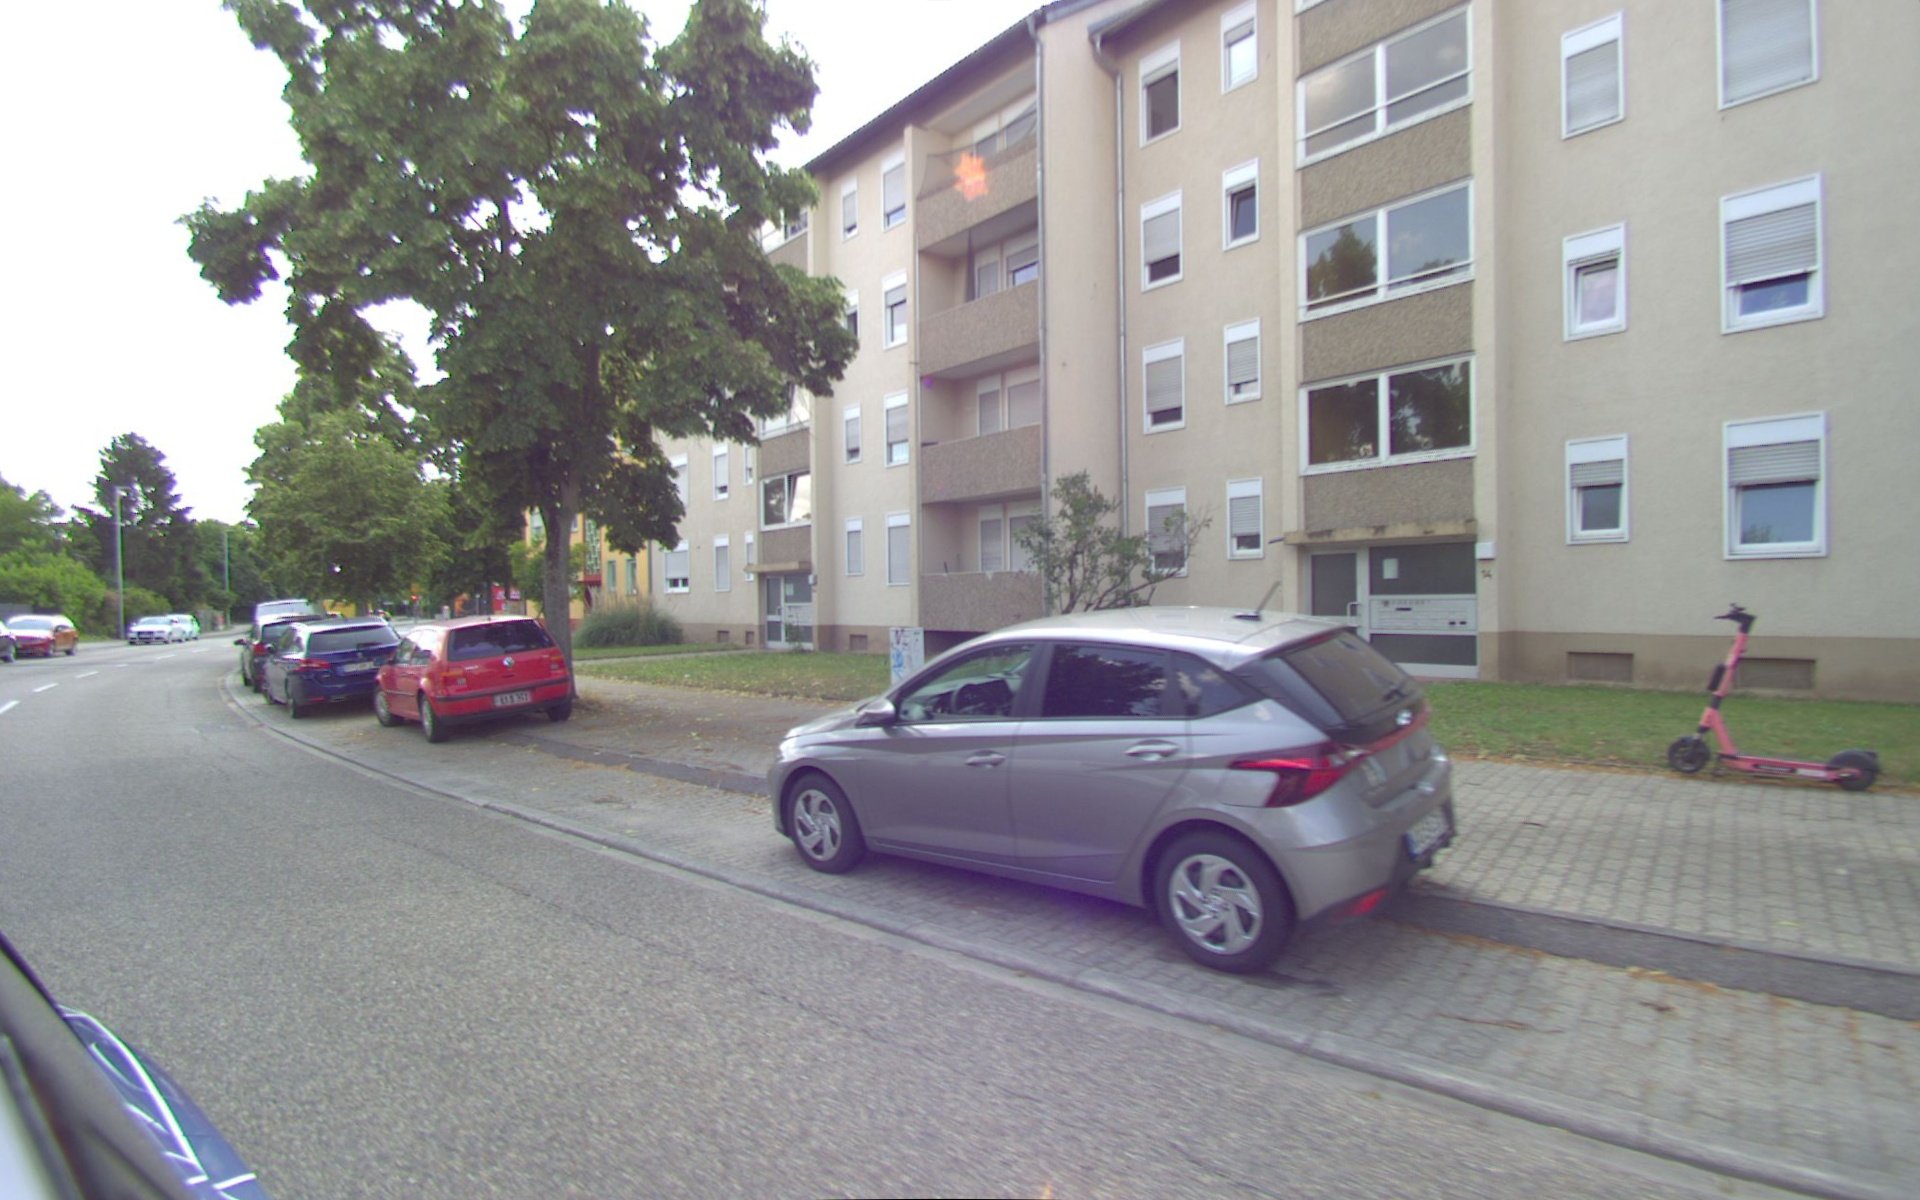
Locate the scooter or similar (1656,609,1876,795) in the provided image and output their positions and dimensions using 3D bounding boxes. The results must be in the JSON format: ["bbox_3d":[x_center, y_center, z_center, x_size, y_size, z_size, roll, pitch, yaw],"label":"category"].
[{"bbox_3d":[5.549,0.666,7.011,1.140,1.174,0.415,-2,0,41],"label":"scooter or similar"}]

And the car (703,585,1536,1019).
[{"bbox_3d":[0.582,0.754,5.691,4.341,1.500,1.742,-2,1,41],"label":"car"}]

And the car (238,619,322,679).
[{"bbox_3d":[-19.241,1.325,28.798,1.736,1.500,4.518,-1,0,-31],"label":"car"}]

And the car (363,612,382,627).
[{"bbox_3d":[-60.160,1.996,103.628,1.532,1.528,3.620,-1,0,-28],"label":"car"}]

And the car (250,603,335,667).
[{"bbox_3d":[-23.104,1.161,35.198,1.853,2.025,5.339,0,-1,-27],"label":"car"}]

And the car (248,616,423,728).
[{"bbox_3d":[-10.652,1.094,17.104,1.739,1.500,4.577,-3,2,-41],"label":"car"}]

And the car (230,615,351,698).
[{"bbox_3d":[-14.375,1.130,21.639,1.738,1.500,4.040,-3,1,-39],"label":"car"}]

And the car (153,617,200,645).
[{"bbox_3d":[-45.894,1.812,59.333,1.559,1.531,3.767,-1,0,-28],"label":"car"}]

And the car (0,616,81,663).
[{"bbox_3d":[-34.154,1.404,37.160,1.824,1.591,4.747,-1,0,-28],"label":"car"}]

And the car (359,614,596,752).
[{"bbox_3d":[-6.551,0.963,13.503,1.814,1.449,4.098,-4,2,-40],"label":"car"}]

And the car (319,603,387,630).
[{"bbox_3d":[-71.037,1.886,118.536,6.420,2.891,2.500,-2,1,-41],"label":"car"}]

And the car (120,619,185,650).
[{"bbox_3d":[-41.940,1.741,52.642,1.697,1.497,3.761,-1,0,-24],"label":"car"}]
